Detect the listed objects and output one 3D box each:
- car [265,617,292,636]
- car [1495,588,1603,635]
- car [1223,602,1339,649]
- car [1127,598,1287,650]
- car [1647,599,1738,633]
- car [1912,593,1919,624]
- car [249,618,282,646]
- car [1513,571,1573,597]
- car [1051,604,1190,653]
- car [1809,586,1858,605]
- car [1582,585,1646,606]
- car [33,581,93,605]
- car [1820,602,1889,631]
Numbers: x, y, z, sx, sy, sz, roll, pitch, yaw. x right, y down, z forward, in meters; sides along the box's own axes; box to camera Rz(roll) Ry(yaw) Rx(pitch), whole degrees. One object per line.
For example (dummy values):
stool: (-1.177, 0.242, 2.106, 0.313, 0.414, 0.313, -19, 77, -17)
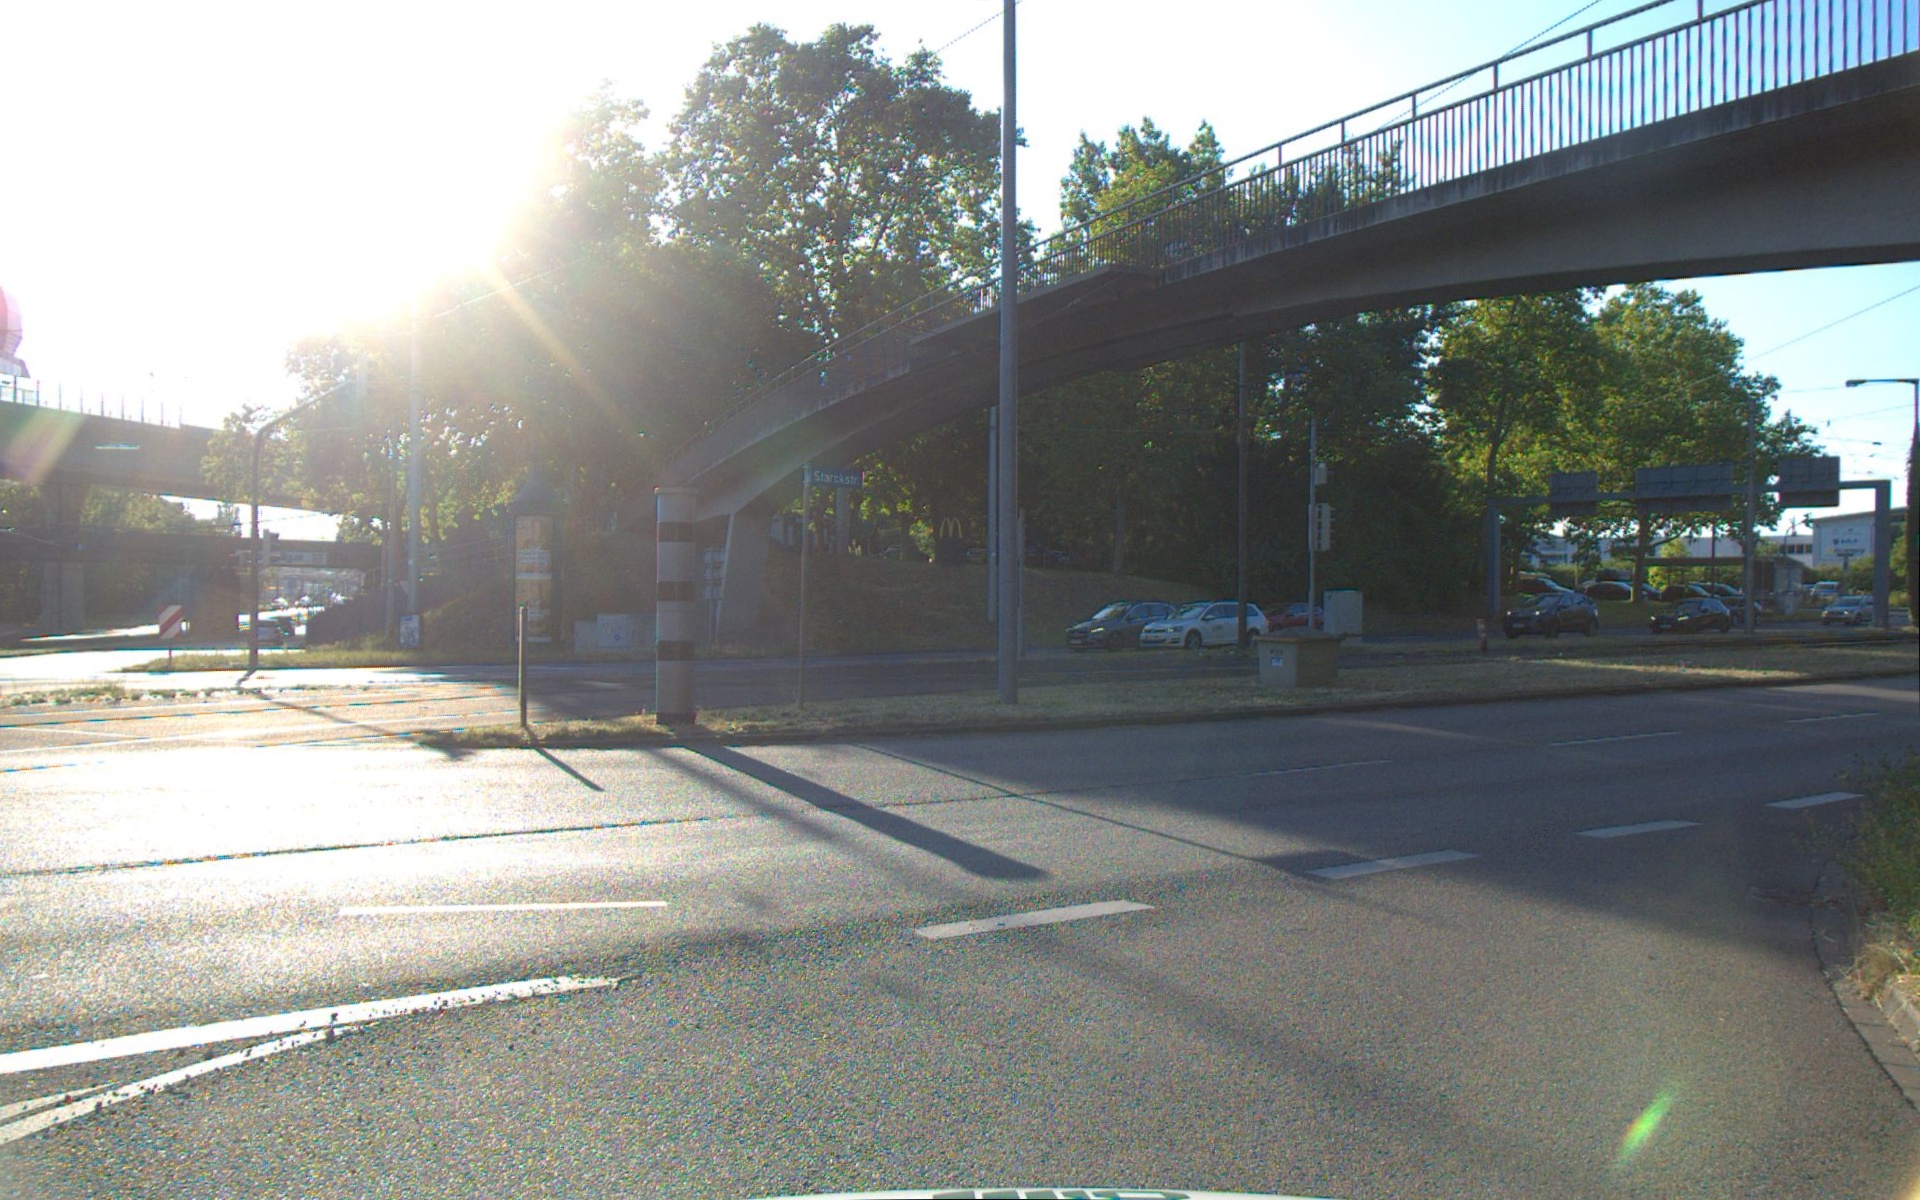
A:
car: (-55.360, 2.139, 134.400, 1.665, 1.447, 4.131, 1, -1, -17)
car: (21.720, 0.426, 60.918, 4.313, 1.679, 1.772, 1, 0, -39)
car: (12.049, 0.944, 61.965, 4.305, 1.679, 1.775, 1, 0, -35)
car: (7.384, 0.699, 49.134, 4.811, 1.469, 1.984, 1, 0, -39)
car: (30.416, 0.664, 68.631, 4.264, 1.333, 1.669, 1, 0, -38)
car: (47.543, 0.432, 79.466, 3.977, 1.440, 1.819, 1, 0, -38)
car: (-43.378, 1.974, 103.320, 1.686, 1.681, 4.193, 1, -1, -21)
car: (44.113, -1.215, 125.190, 1.978, 1.892, 3.950, 0, 1, -36)
car: (5.077, 0.878, 52.116, 4.210, 1.469, 1.984, 1, 0, -39)
car: (67.443, -0.349, 127.643, 3.957, 1.467, 1.823, 0, 1, -37)
car: (47.665, -0.333, 120.551, 1.765, 1.411, 4.014, 0, 2, -37)
car: (-72.372, -0.526, 133.503, 1.951, 1.802, 4.003, 1, -1, 14)
car: (46.759, 0.839, 86.414, 4.396, 1.440, 1.668, 1, 1, -40)
